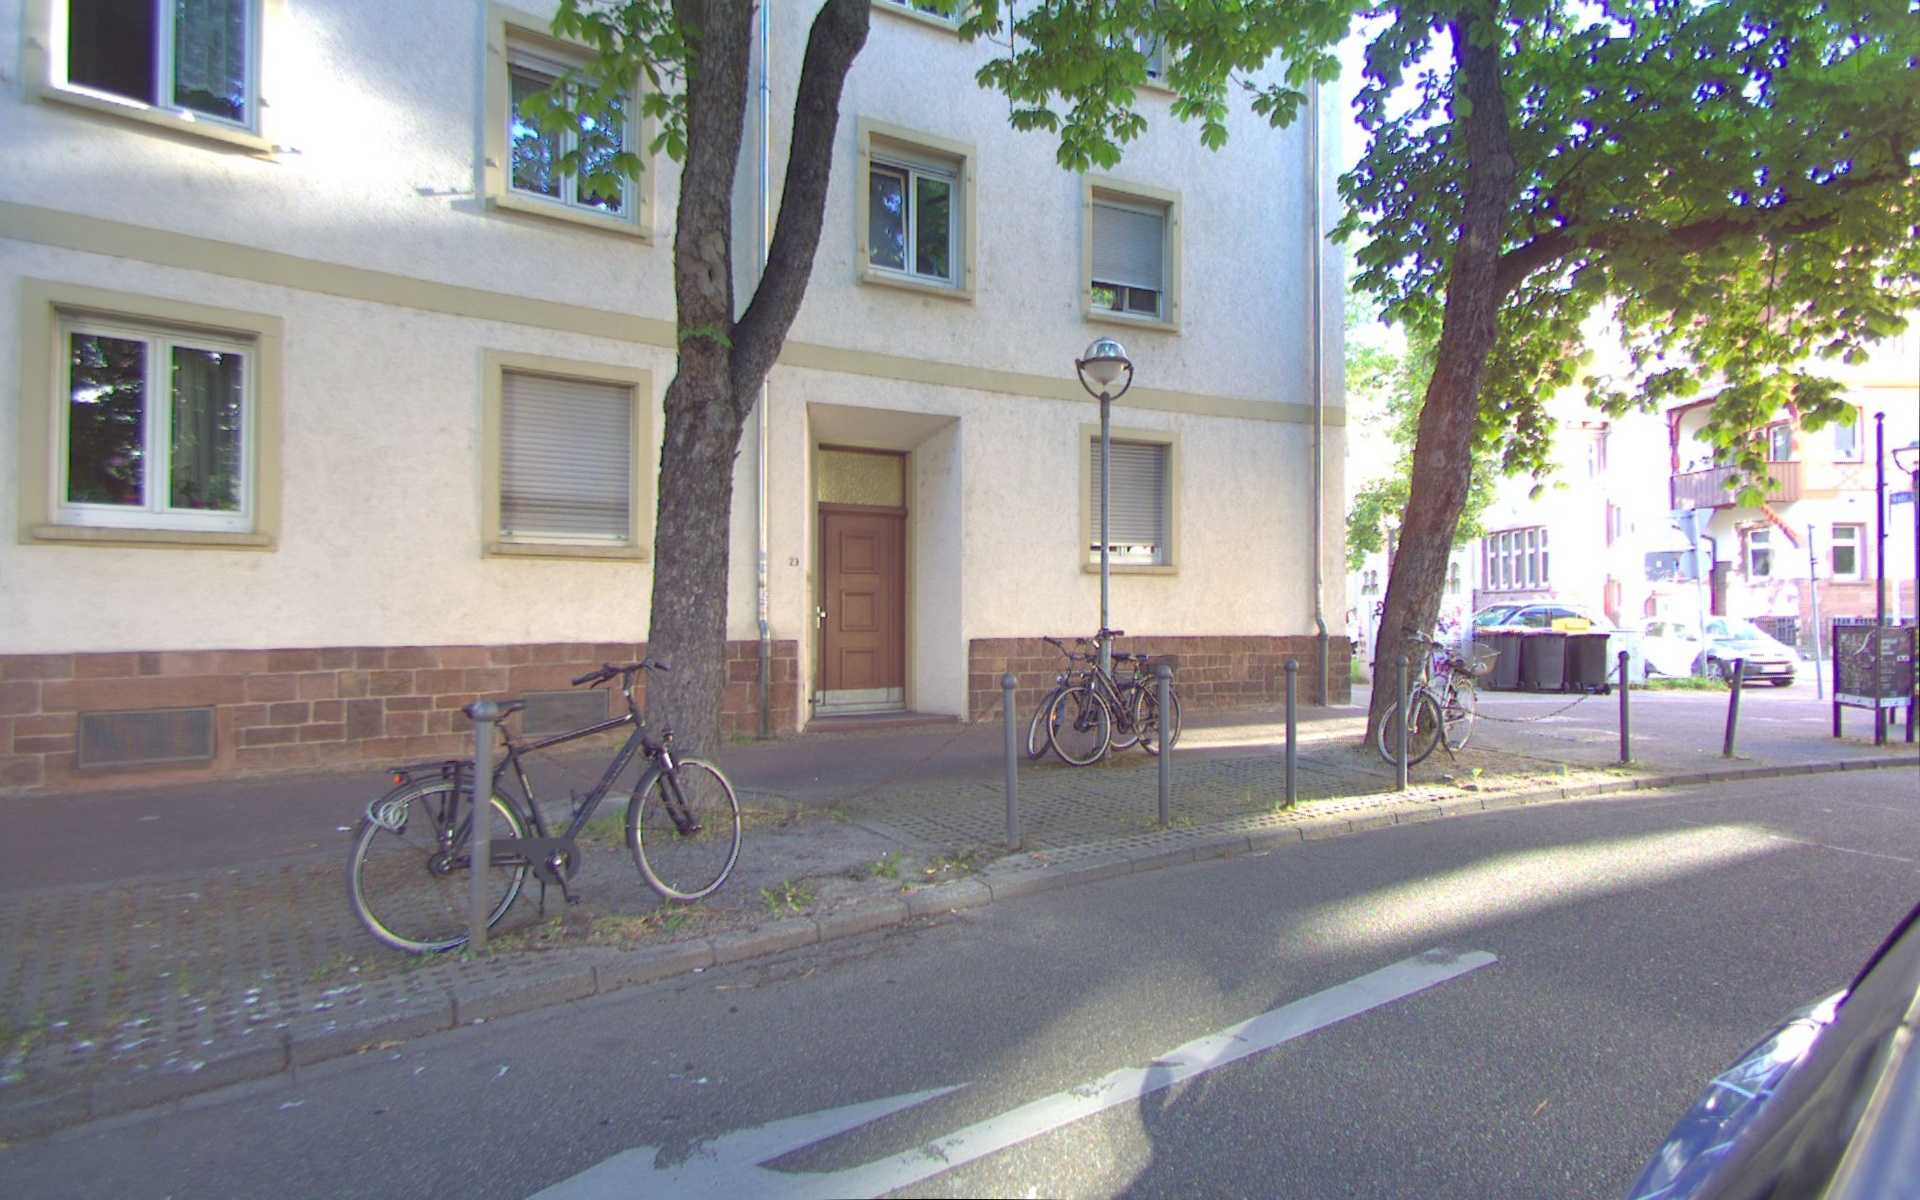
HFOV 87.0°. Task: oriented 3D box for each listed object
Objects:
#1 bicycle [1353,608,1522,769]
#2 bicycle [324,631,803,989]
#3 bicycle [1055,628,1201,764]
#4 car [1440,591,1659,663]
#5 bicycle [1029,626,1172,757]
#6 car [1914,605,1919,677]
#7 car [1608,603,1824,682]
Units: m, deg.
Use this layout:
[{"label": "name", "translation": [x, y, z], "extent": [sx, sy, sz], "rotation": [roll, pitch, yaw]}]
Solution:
[{"label": "bicycle", "translation": [4.419, 0.738, 9.300], "extent": [1.871, 1.321, 0.766], "rotation": [1, -1, -43]}, {"label": "bicycle", "translation": [-1.692, 0.783, 4.560], "extent": [1.882, 1.238, 0.718], "rotation": [0, -1, -43]}, {"label": "bicycle", "translation": [1.541, 0.820, 9.097], "extent": [1.607, 1.108, 0.334], "rotation": [0, -1, -41]}, {"label": "car", "translation": [12.574, 0.563, 21.720], "extent": [3.728, 1.443, 1.677], "rotation": [0, -1, -5]}, {"label": "bicycle", "translation": [1.337, 0.813, 9.439], "extent": [1.607, 1.108, 0.334], "rotation": [0, -1, -41]}, {"label": "car", "translation": [21.720, 0.902, 20.601], "extent": [1.463, 1.559, 3.217], "rotation": [1, 0, -3]}, {"label": "car", "translation": [16.746, 0.885, 22.699], "extent": [1.664, 1.572, 4.052], "rotation": [-1, -1, -1]}]
